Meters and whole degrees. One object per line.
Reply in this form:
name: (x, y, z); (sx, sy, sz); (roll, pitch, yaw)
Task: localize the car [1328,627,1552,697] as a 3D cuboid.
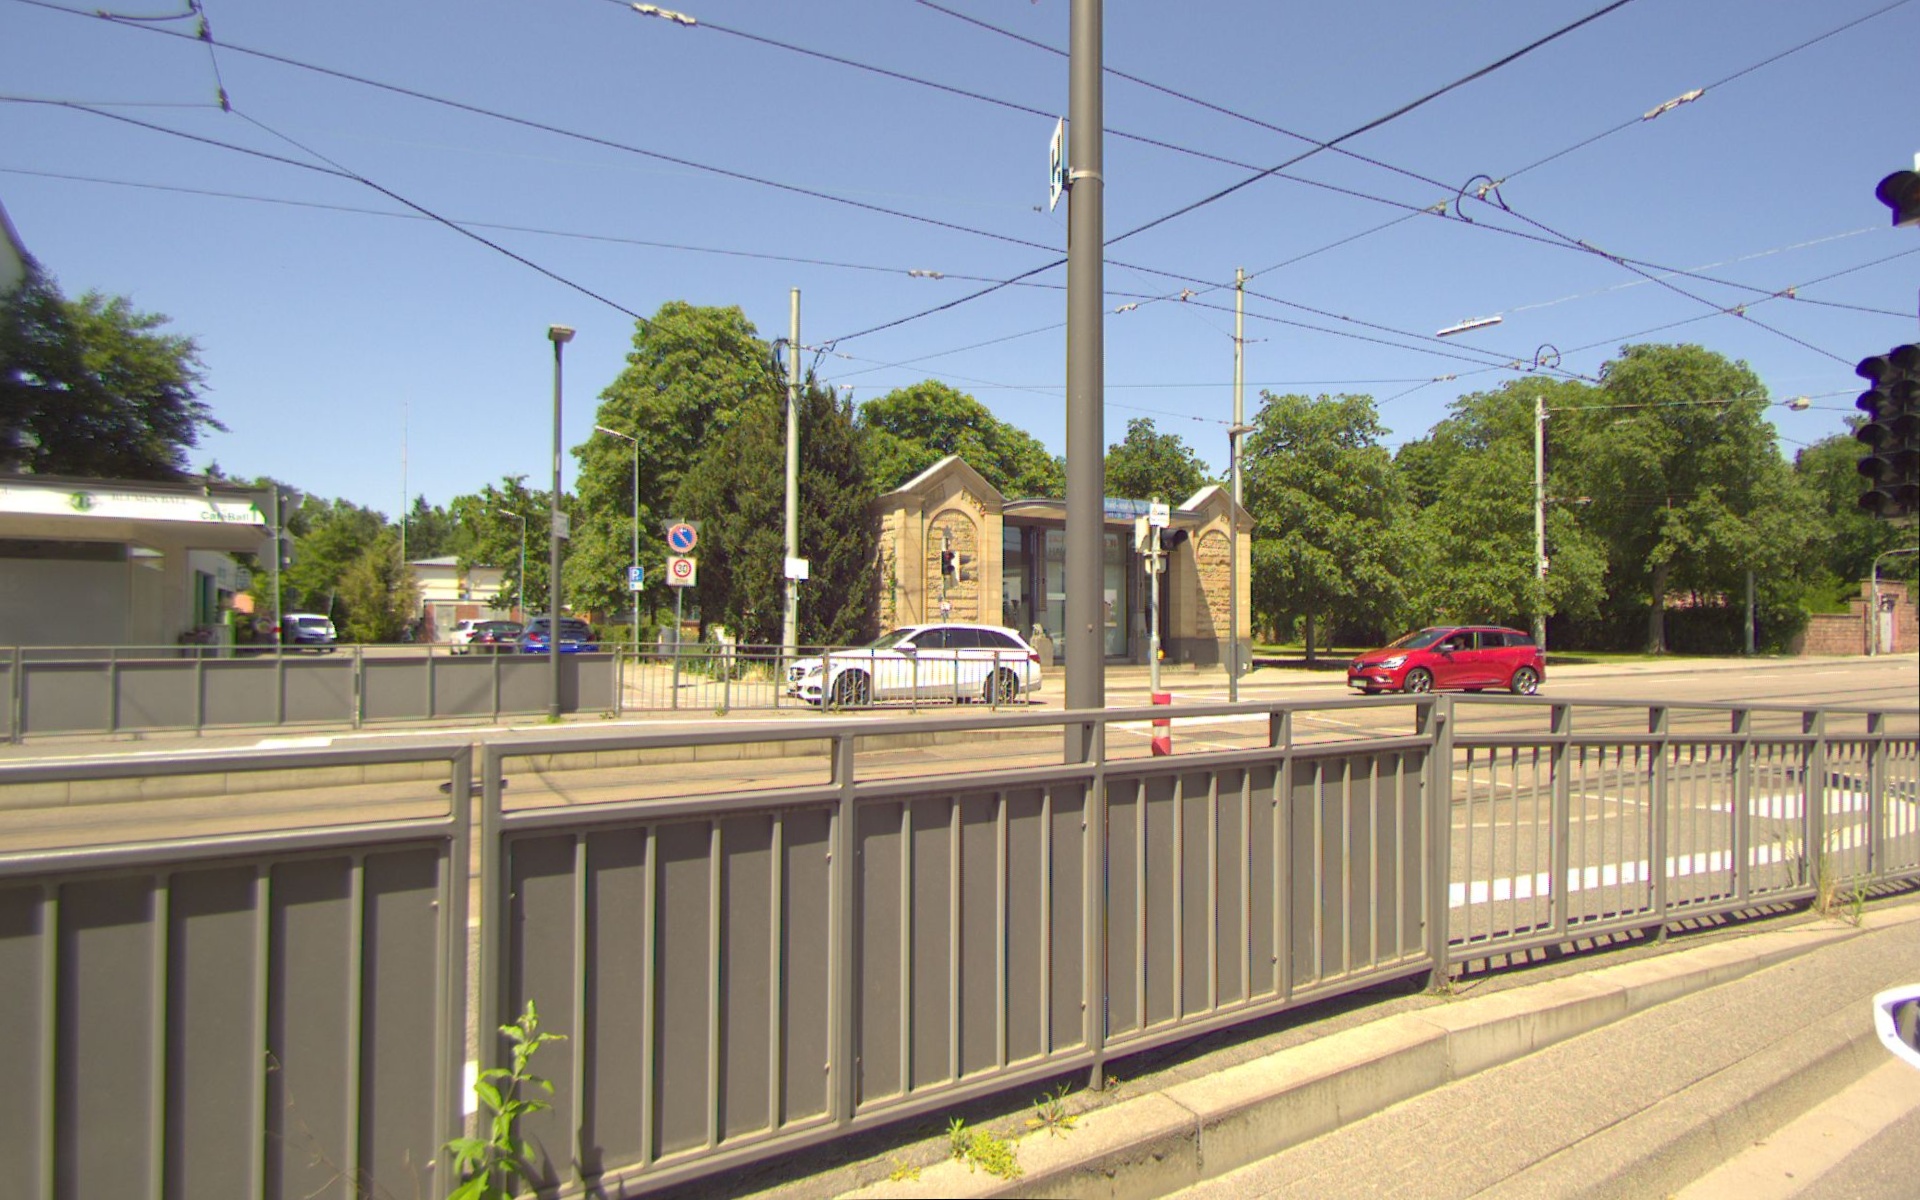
car: (10.270, 1.292, 21.605); (4.101, 1.414, 1.820); (0, -1, -11)

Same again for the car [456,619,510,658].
car: (-18.738, 1.511, 39.394); (1.625, 1.465, 3.784); (1, -3, -29)

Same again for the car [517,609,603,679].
car: (-9.938, 1.015, 24.807); (1.799, 1.472, 3.934); (1, 1, -25)

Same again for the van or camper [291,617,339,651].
van or camper: (-32.060, 1.670, 49.881); (1.676, 1.587, 3.784); (1, -2, -38)

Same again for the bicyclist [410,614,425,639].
bicyclist: (-32.064, 1.567, 59.376); (0.522, 1.454, 0.619); (-1, -1, 42)

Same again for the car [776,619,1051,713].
car: (-0.792, 1.122, 17.852); (4.564, 1.487, 1.811); (1, -2, -27)

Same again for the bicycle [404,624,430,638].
bicycle: (-32.121, 1.804, 59.406); (2.162, 0.798, 0.615); (-1, -2, 41)

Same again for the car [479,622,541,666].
car: (-15.326, 1.484, 34.109); (1.624, 1.388, 3.785); (1, -3, -29)
